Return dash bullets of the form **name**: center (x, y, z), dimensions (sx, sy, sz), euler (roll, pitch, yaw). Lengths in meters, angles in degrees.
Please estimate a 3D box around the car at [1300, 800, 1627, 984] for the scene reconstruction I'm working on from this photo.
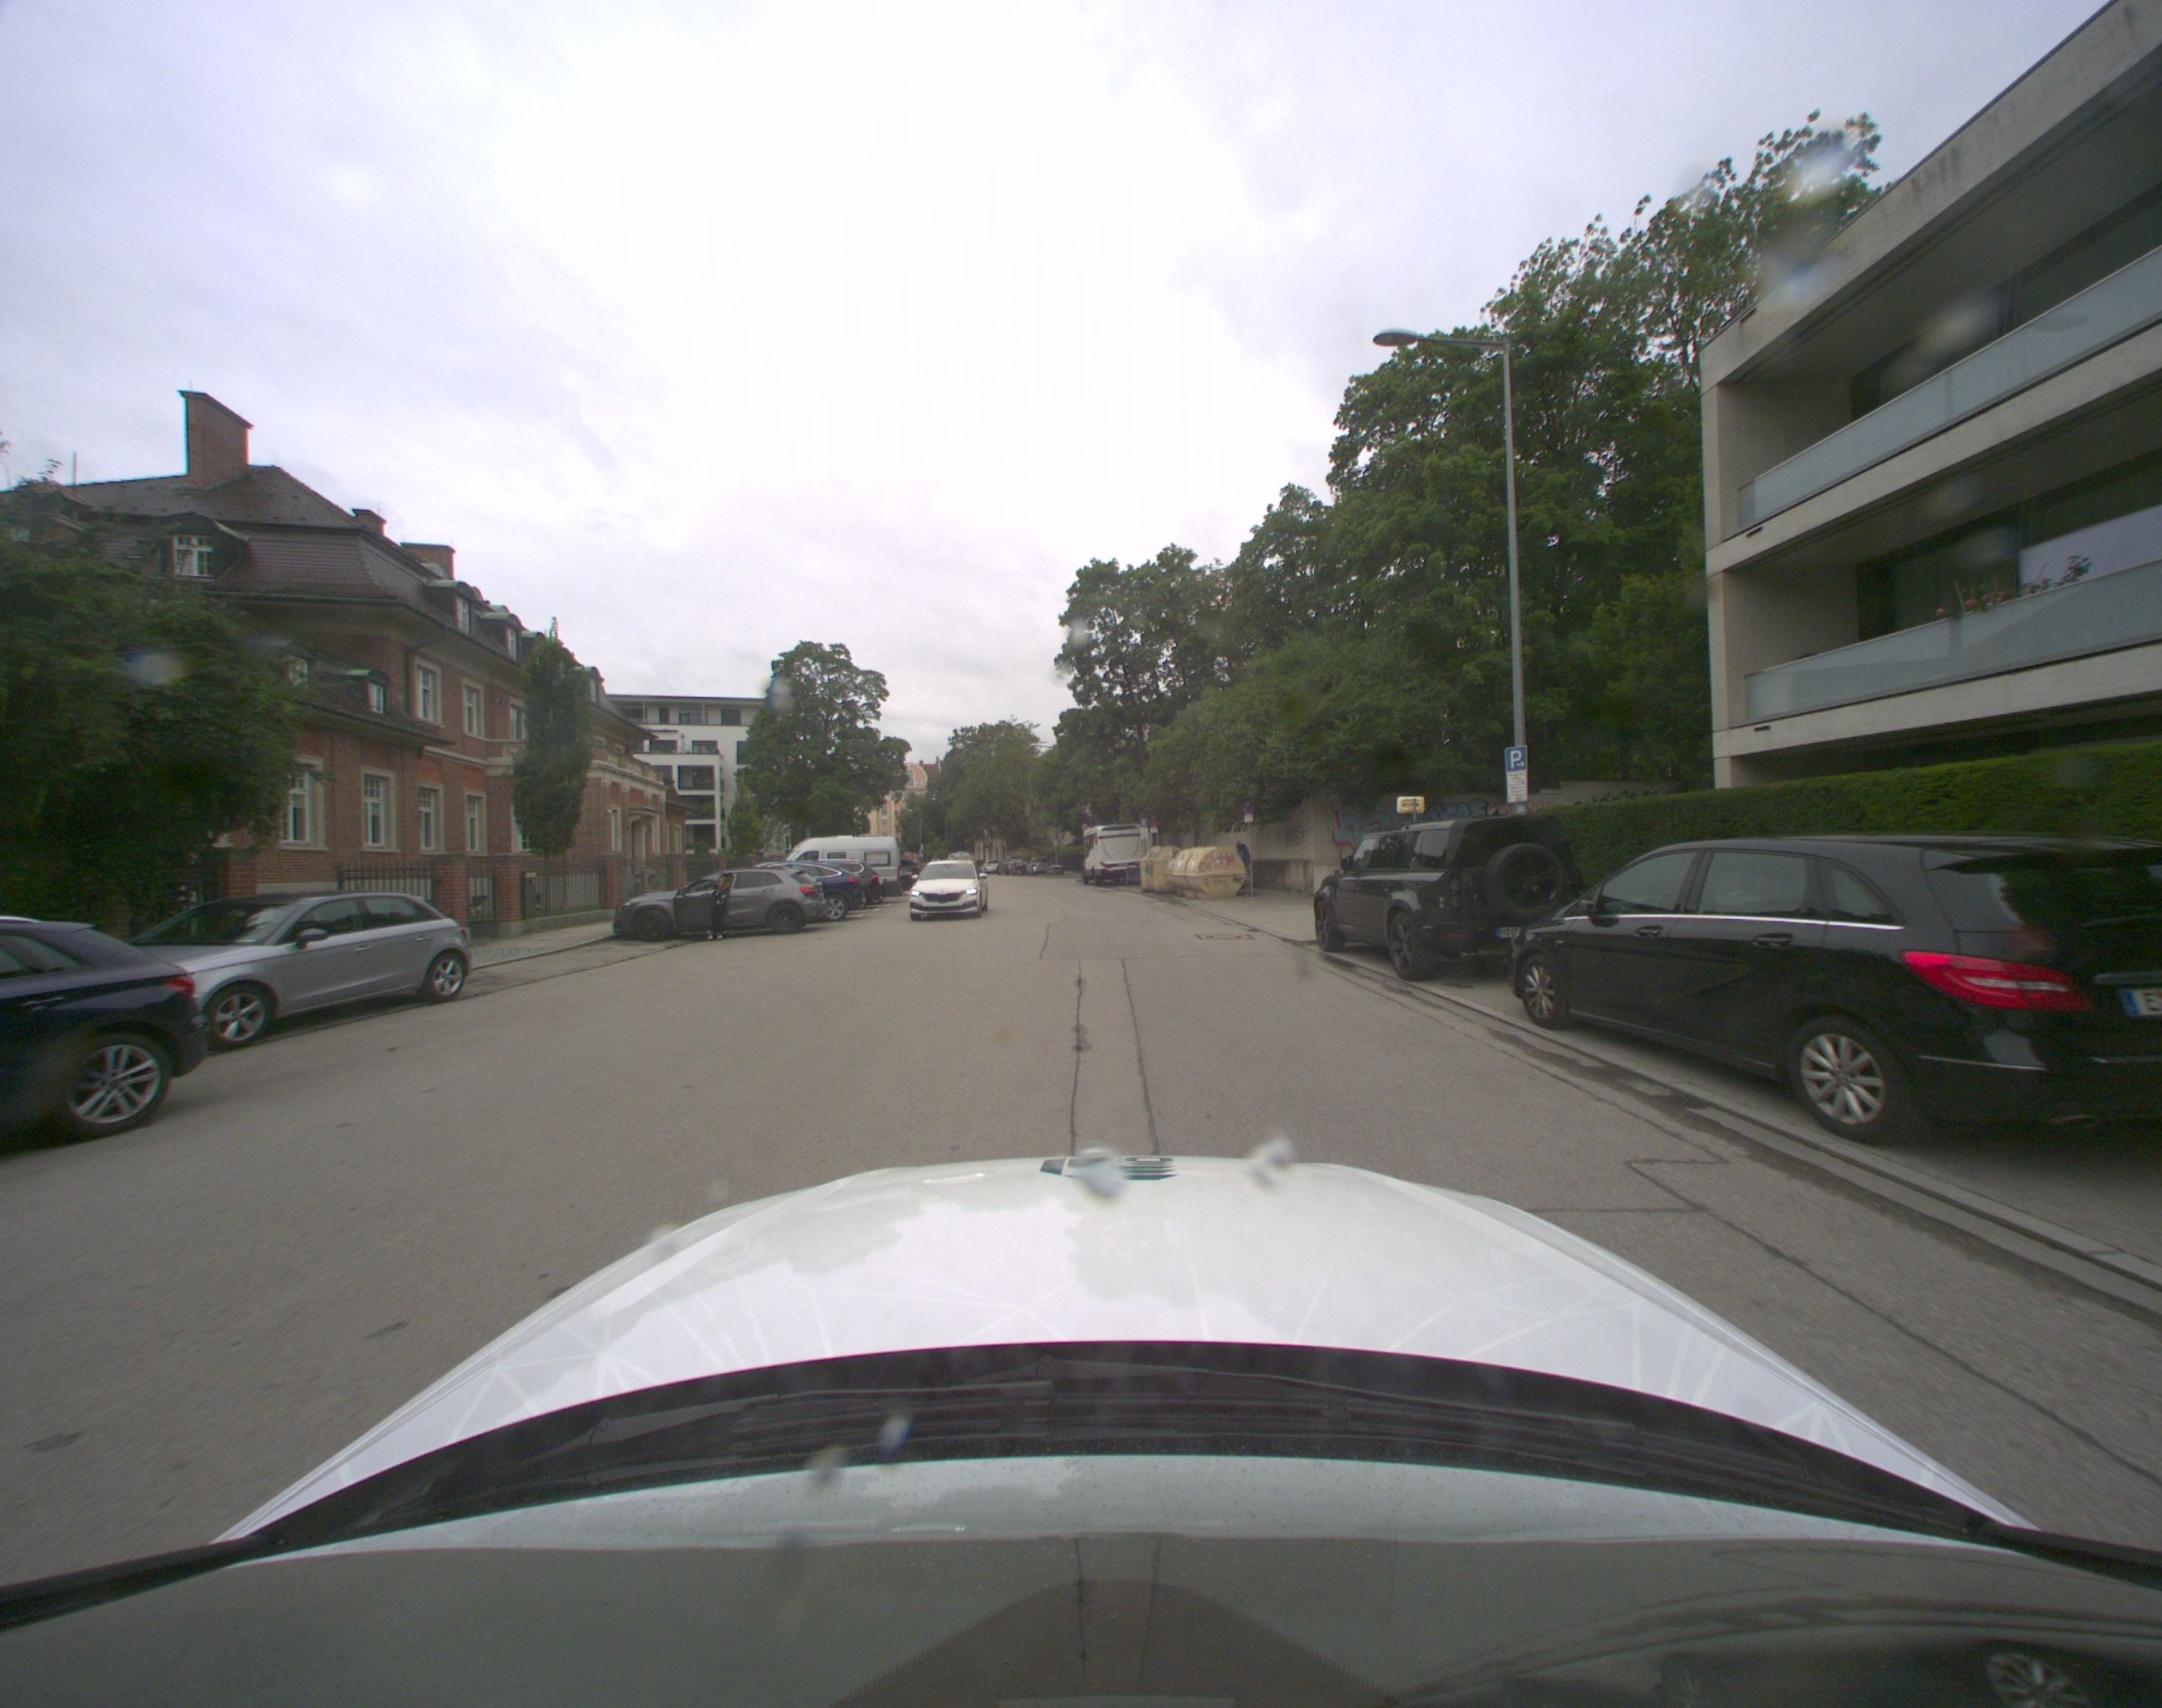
- **car**: center (4.680, 0.417, 11.046), dimensions (1.982, 1.871, 5.076), euler (-1, -1, -1)

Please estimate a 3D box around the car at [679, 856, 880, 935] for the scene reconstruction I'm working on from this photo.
- **car**: center (-7.772, 1.012, 21.112), dimensions (4.544, 1.593, 1.945), euler (-4, 0, -32)

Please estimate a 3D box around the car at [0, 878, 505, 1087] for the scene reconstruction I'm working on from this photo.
- **car**: center (-8.771, 1.171, 8.988), dimensions (1.735, 1.535, 4.149), euler (-4, 0, 1)

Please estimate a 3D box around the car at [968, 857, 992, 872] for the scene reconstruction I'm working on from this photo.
- **car**: center (-11.215, 1.179, 90.203), dimensions (1.712, 1.537, 4.214), euler (-4, 0, -18)

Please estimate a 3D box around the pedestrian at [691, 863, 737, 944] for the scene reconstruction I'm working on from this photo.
- **pedestrian**: center (-7.742, 1.025, 17.199), dimensions (0.589, 1.648, 0.713), euler (-3, 0, -5)

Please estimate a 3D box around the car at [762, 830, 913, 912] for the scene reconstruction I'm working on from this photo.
- **car**: center (-8.707, 0.545, 29.229), dimensions (4.654, 2.563, 2.211), euler (-3, 1, -32)

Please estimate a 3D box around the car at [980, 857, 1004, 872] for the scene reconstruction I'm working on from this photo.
- **car**: center (-9.403, 1.139, 85.426), dimensions (1.690, 1.441, 3.975), euler (-3, 0, -18)

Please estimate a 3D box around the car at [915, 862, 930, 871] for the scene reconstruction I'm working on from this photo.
- **car**: center (-25.921, 2.032, 133.145), dimensions (1.676, 1.344, 3.810), euler (-3, 2, -21)

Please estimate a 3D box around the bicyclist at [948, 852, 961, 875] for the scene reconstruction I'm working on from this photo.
- **bicyclist**: center (-7.865, 0.576, 50.605), dimensions (0.697, 1.352, 0.927), euler (-2, 0, -11)

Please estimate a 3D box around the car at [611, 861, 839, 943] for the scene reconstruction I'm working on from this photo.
- **car**: center (-7.835, 1.036, 18.347), dimensions (4.334, 1.530, 1.925), euler (-2, -1, -12)

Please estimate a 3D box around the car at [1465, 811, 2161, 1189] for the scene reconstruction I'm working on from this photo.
- **car**: center (4.661, 0.577, 5.674), dimensions (1.742, 1.539, 4.568), euler (-2, 0, -1)

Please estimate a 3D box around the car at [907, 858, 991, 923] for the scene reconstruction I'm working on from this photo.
- **car**: center (-3.379, 0.881, 21.516), dimensions (1.769, 1.475, 4.128), euler (-2, 0, -4)

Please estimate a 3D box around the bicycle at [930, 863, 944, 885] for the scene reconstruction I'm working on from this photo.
- **bicycle**: center (-8.895, 1.204, 50.334), dimensions (0.708, 1.305, 2.108), euler (-2, 0, -13)

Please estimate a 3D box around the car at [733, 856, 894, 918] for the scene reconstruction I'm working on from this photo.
- **car**: center (-8.574, 1.032, 26.210), dimensions (4.544, 1.625, 1.947), euler (-3, -1, -32)

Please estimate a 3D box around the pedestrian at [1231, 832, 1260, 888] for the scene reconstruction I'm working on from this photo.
- **pedestrian**: center (5.950, 0.200, 29.451), dimensions (0.802, 1.985, 0.623), euler (-2, 0, -39)

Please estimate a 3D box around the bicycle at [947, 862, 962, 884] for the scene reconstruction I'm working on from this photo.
- **bicycle**: center (-7.863, 1.137, 50.637), dimensions (0.707, 1.305, 2.109), euler (-2, 0, -13)

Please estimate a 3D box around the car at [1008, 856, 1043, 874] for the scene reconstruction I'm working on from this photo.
- **car**: center (-4.933, 0.944, 72.006), dimensions (1.884, 1.427, 4.192), euler (-4, 0, -21)

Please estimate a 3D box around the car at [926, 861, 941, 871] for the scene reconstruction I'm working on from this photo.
- **car**: center (-22.519, 1.849, 123.969), dimensions (1.712, 1.466, 3.814), euler (-3, 0, -18)

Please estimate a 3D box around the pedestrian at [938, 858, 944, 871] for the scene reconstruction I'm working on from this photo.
- **pedestrian**: center (-21.914, 1.597, 127.082), dimensions (0.775, 2.013, 0.559), euler (-2, -1, -20)

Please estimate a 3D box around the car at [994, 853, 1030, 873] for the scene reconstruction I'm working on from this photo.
- **car**: center (-6.474, 0.850, 76.357), dimensions (2.001, 1.711, 4.850), euler (-4, 0, -21)

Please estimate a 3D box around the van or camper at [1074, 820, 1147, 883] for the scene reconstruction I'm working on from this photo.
- **van or camper**: center (1.382, -0.106, 42.366), dimensions (2.273, 2.906, 7.252), euler (-2, 0, -10)

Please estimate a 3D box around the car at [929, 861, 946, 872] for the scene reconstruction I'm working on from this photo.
- **car**: center (-21.046, 1.825, 119.408), dimensions (1.713, 1.408, 4.102), euler (-3, 0, -20)

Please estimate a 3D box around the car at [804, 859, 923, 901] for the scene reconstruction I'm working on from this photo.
- **car**: center (-9.371, 1.100, 35.257), dimensions (4.547, 1.451, 1.956), euler (-3, 1, -36)

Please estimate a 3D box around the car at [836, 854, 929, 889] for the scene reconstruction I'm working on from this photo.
- **car**: center (-10.989, 0.959, 45.231), dimensions (4.550, 1.665, 1.965), euler (-3, 0, -39)

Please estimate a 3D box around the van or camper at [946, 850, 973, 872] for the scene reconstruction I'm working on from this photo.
- **van or camper**: center (-15.281, 0.901, 102.114), dimensions (2.199, 2.550, 5.691), euler (-3, 0, -19)

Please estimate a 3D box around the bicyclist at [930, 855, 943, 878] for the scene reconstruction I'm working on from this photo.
- **bicyclist**: center (-8.903, 0.773, 50.283), dimensions (0.698, 1.397, 0.926), euler (-2, 0, -14)

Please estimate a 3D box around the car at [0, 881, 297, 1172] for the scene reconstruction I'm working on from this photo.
- **car**: center (-6.891, 1.049, 3.830), dimensions (1.839, 1.535, 4.562), euler (-4, 0, 1)

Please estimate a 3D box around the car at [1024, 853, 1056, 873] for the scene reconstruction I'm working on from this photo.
- **car**: center (-3.468, 0.766, 68.163), dimensions (1.746, 1.536, 2.925), euler (-4, 0, -21)
